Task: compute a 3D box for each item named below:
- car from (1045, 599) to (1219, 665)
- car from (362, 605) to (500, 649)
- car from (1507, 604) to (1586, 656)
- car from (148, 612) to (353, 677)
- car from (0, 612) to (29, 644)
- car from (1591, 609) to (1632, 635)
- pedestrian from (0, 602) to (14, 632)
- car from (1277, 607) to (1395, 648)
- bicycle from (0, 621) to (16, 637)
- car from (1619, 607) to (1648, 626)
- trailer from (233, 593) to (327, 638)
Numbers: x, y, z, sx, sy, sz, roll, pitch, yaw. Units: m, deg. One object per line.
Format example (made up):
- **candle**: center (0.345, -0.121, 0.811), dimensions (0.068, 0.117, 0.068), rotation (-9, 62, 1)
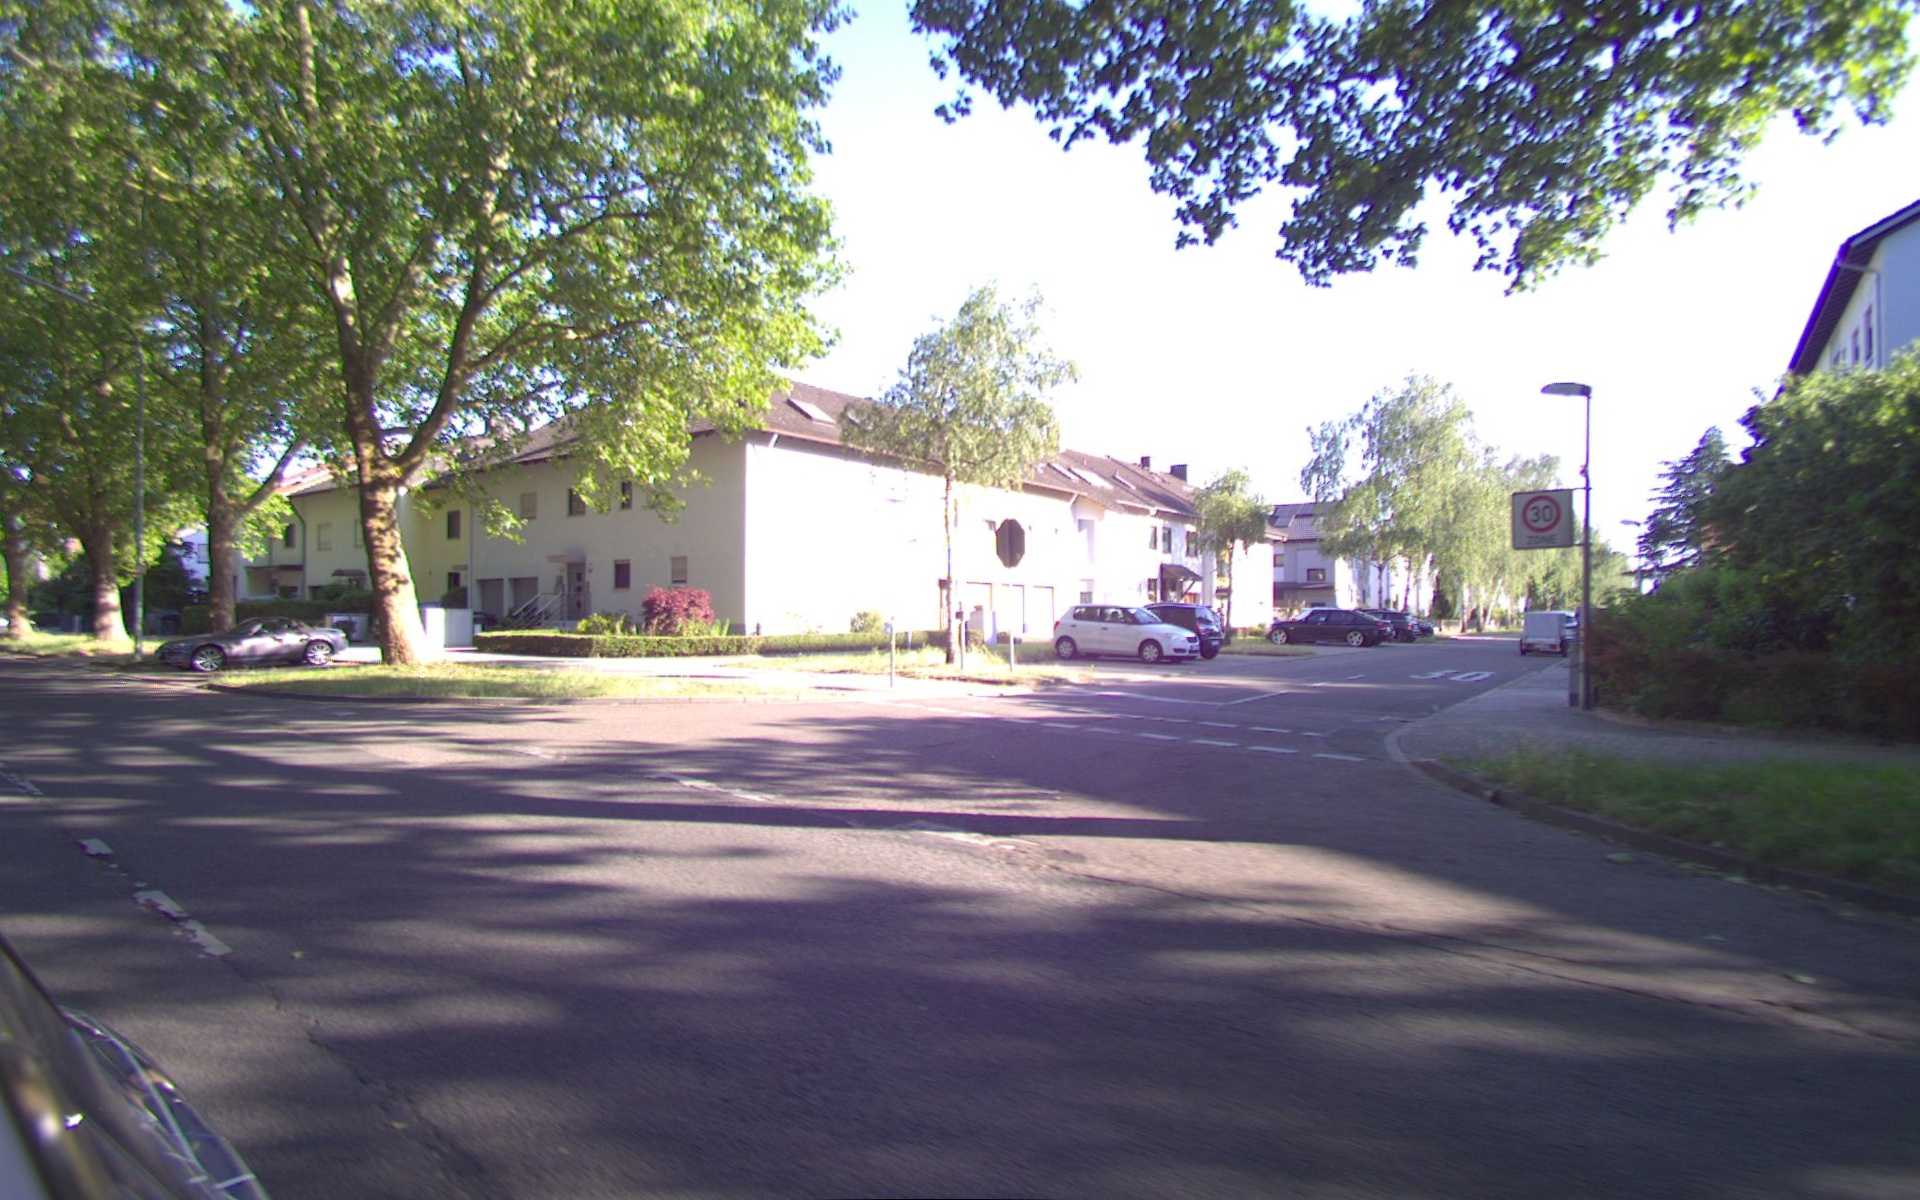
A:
- **car**: center (4.420, 0.781, 26.218), dimensions (3.993, 1.586, 1.975), rotation (-1, 0, 37)
- **car**: center (-18.816, 0.955, 36.133), dimensions (1.899, 1.475, 3.948), rotation (0, -1, 39)
- **car**: center (21.092, 1.022, 36.319), dimensions (1.902, 1.752, 3.948), rotation (-1, -1, 39)
- **car**: center (-17.490, 1.033, 25.083), dimensions (1.787, 1.326, 3.790), rotation (-1, 1, 38)
- **car**: center (-47.753, 1.389, 48.807), dimensions (1.814, 1.530, 3.952), rotation (-1, 0, 36)
- **car**: center (44.711, 1.483, 69.428), dimensions (1.998, 1.752, 3.948), rotation (-1, -1, 39)
- **pedestrian**: center (-55.592, 0.959, 58.930), dimensions (1.064, 1.729, 0.611), rotation (-1, -1, 38)
- **car**: center (14.819, 1.049, 39.952), dimensions (3.992, 1.497, 1.976), rotation (0, 0, 36)
- **bicycle**: center (-55.652, 1.691, 59.058), dimensions (2.153, 0.887, 0.465), rotation (-1, -1, 38)
- **car**: center (64.293, 1.526, 96.593), dimensions (1.997, 1.752, 3.950), rotation (-1, -1, 37)
- **trailer**: center (-33.761, 0.733, 50.313), dimensions (1.640, 1.940, 3.423), rotation (-3, 2, 36)
